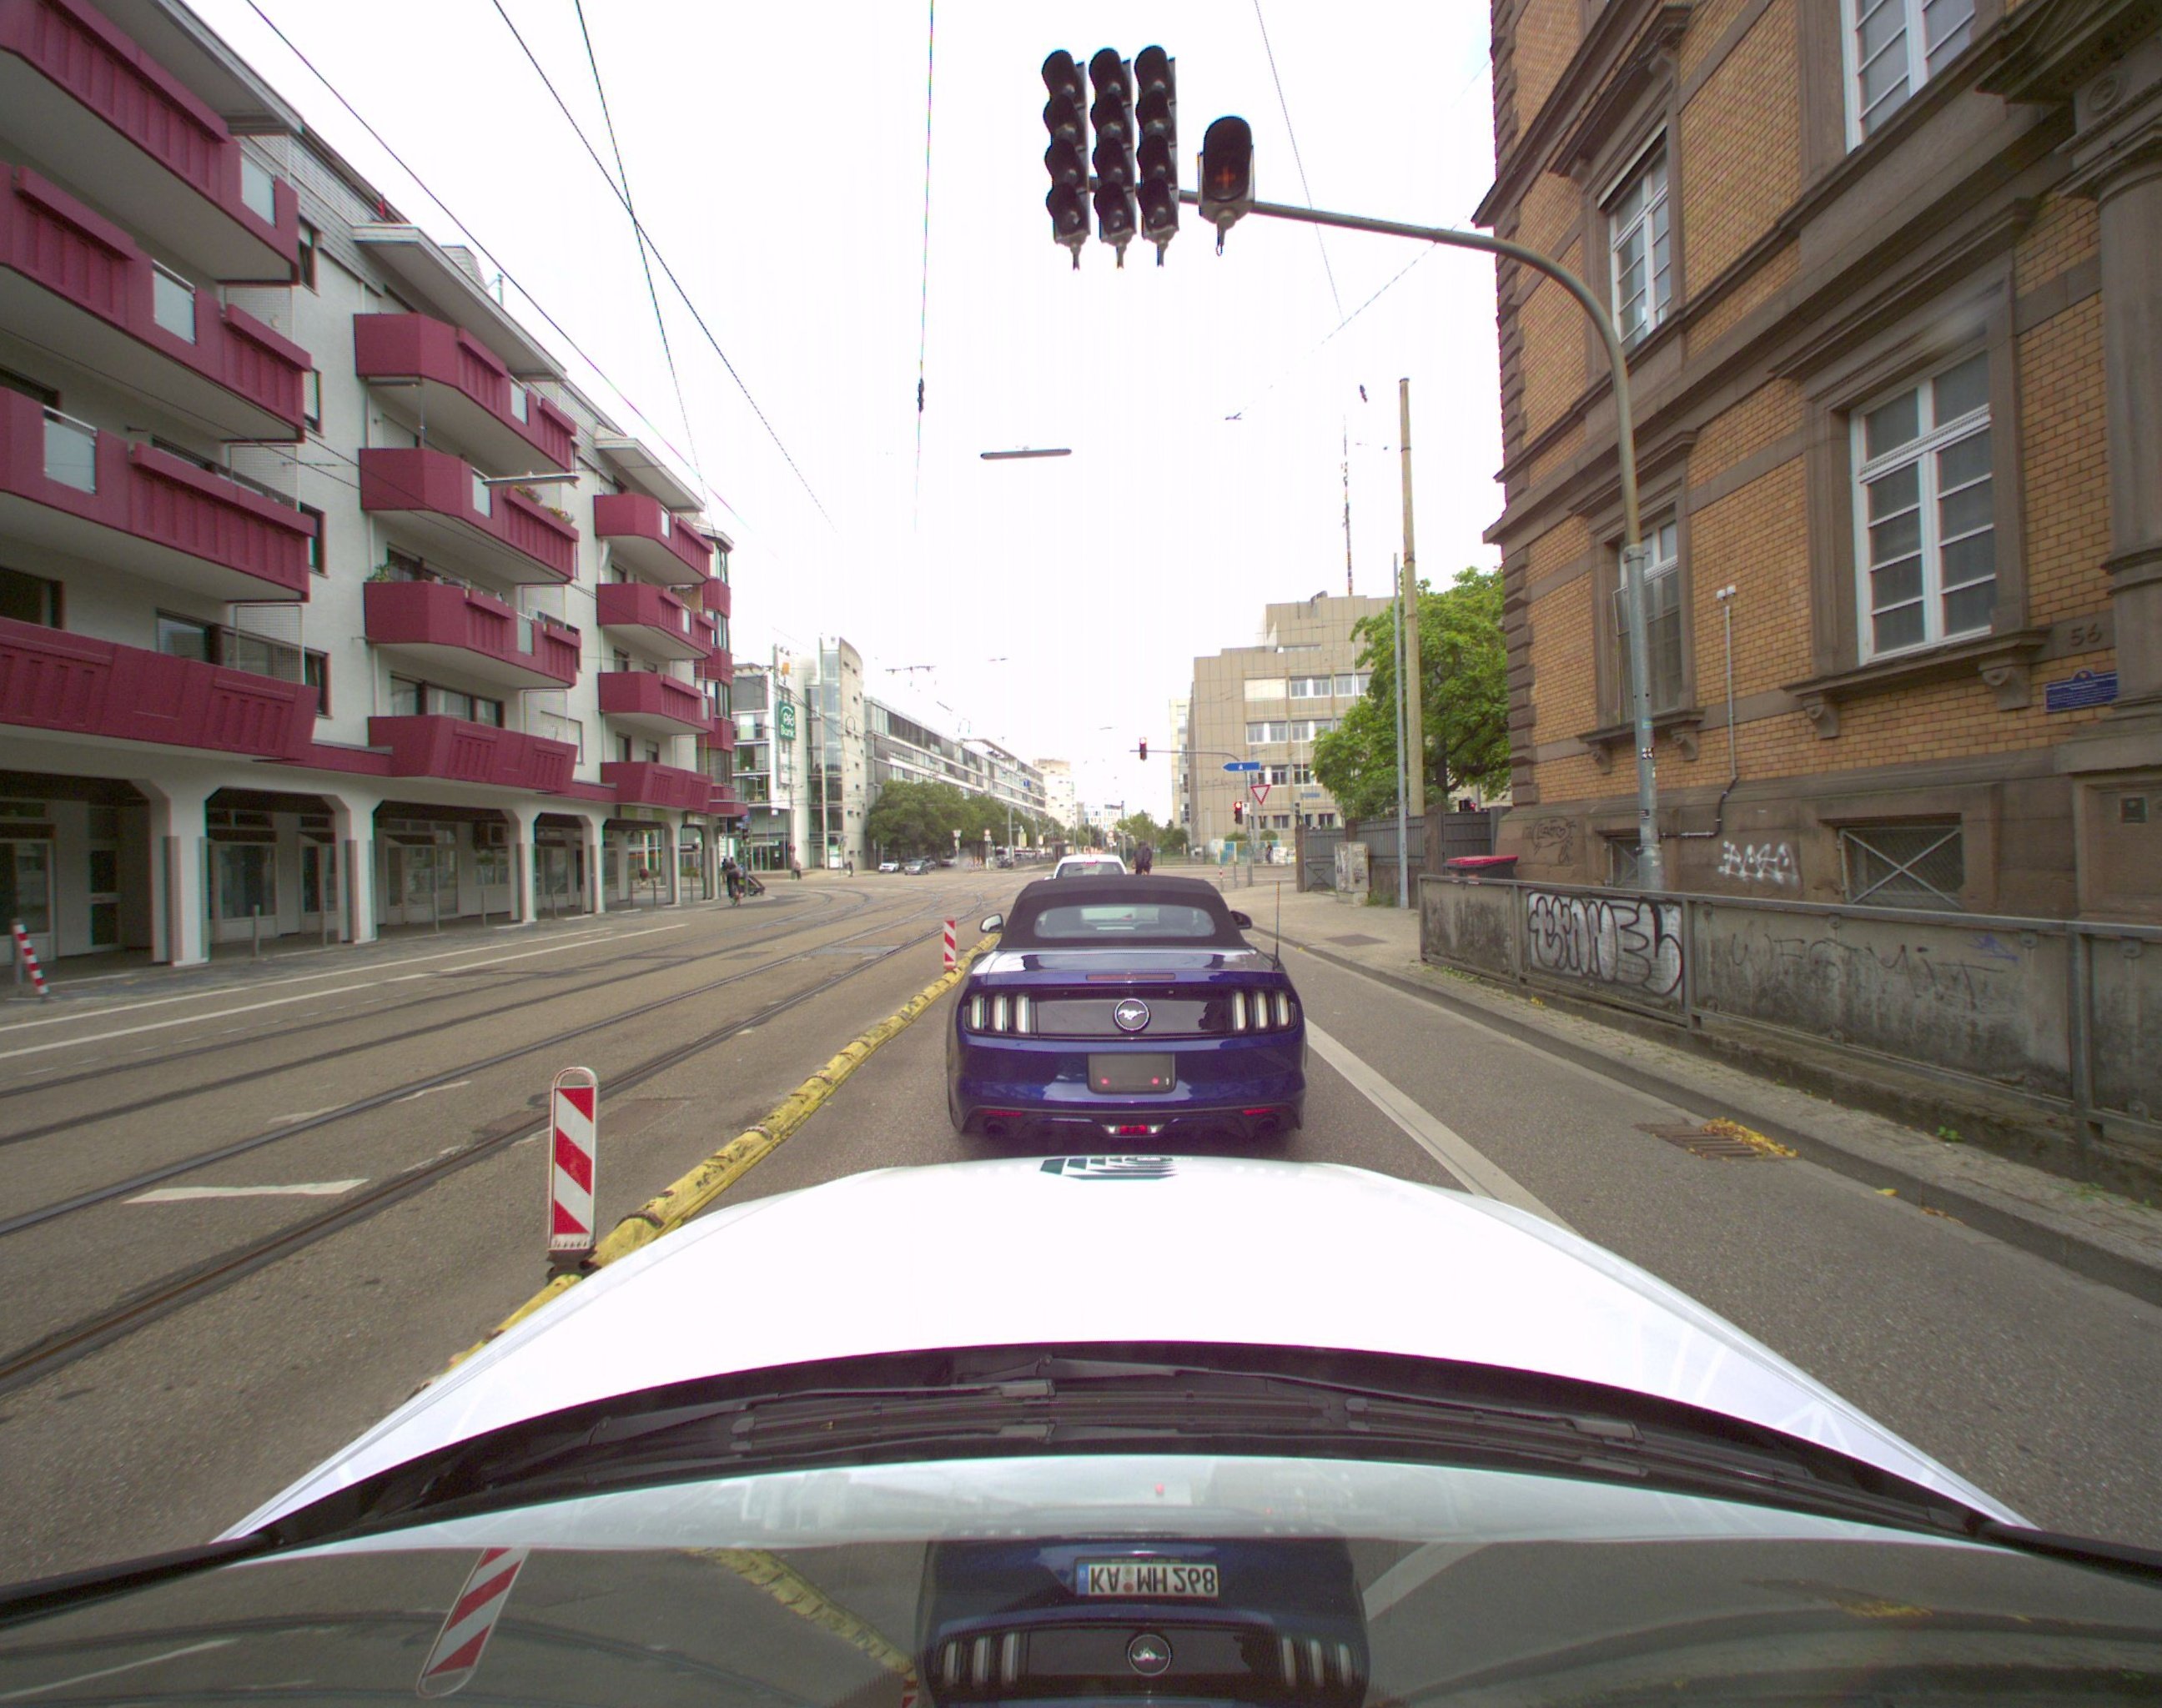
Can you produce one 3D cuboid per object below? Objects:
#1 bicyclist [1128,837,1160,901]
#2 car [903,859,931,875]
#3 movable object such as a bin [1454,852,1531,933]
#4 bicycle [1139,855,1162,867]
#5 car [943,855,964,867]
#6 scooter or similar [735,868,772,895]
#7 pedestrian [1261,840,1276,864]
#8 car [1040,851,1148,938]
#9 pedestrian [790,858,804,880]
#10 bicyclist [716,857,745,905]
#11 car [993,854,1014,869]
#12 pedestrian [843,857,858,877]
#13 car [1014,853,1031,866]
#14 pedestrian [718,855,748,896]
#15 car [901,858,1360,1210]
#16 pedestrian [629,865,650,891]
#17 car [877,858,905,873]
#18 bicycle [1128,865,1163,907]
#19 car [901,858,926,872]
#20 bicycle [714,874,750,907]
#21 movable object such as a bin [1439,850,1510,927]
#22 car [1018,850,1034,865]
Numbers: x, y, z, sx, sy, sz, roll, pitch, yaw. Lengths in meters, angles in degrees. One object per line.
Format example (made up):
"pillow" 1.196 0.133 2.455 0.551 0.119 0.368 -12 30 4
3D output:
"bicyclist" 1.811 0.423 23.556 0.793 1.785 1.233 -2 0 0
"car" -16.759 1.321 83.500 1.659 1.506 4.242 0 0 6
"movable object such as a bin" 5.971 0.541 11.844 0.662 1.082 0.700 -5 -1 -3
"bicycle" 6.187 0.637 72.752 0.637 0.981 2.133 -2 -2 -40
"car" -18.305 0.972 116.998 1.978 1.556 4.516 0 0 3
"scooter or similar" -14.335 1.207 35.693 1.192 1.128 0.946 -1 0 -1
"pedestrian" 15.649 -0.173 67.873 1.080 1.898 0.903 -2 0 7
"car" 0.145 0.702 16.300 1.831 1.439 4.183 -2 0 -2
"pedestrian" -25.410 1.347 72.929 0.828 1.865 0.769 -2 0 14
"bicyclist" -12.440 0.935 28.909 0.755 1.651 1.044 -2 0 -33
"car" -9.280 0.854 97.672 1.872 1.628 4.089 -2 0 2
"pedestrian" -22.103 1.284 78.134 0.983 1.855 0.904 -2 0 8
"car" -8.014 0.702 111.257 1.861 1.605 4.214 -2 0 2
"pedestrian" -15.228 0.935 35.641 0.945 1.743 0.811 -2 0 -2
"car" 0.279 0.754 5.487 1.869 1.404 4.284 -1 0 2
"pedestrian" -29.584 1.589 54.556 0.928 1.671 0.769 -2 0 14
"car" -21.350 1.292 91.660 1.820 1.556 4.223 0 0 6
"bicycle" 1.829 0.893 23.383 0.798 1.086 2.131 -2 0 0
"car" -20.263 1.346 98.834 1.820 1.556 4.223 0 0 6
"bicycle" -12.391 1.277 28.839 0.768 1.086 2.337 -2 0 -33
"movable object such as a bin" 6.051 0.521 12.559 0.649 1.082 0.677 -5 -1 -4
"car" -7.840 0.457 116.356 1.778 1.987 4.123 -2 0 2
